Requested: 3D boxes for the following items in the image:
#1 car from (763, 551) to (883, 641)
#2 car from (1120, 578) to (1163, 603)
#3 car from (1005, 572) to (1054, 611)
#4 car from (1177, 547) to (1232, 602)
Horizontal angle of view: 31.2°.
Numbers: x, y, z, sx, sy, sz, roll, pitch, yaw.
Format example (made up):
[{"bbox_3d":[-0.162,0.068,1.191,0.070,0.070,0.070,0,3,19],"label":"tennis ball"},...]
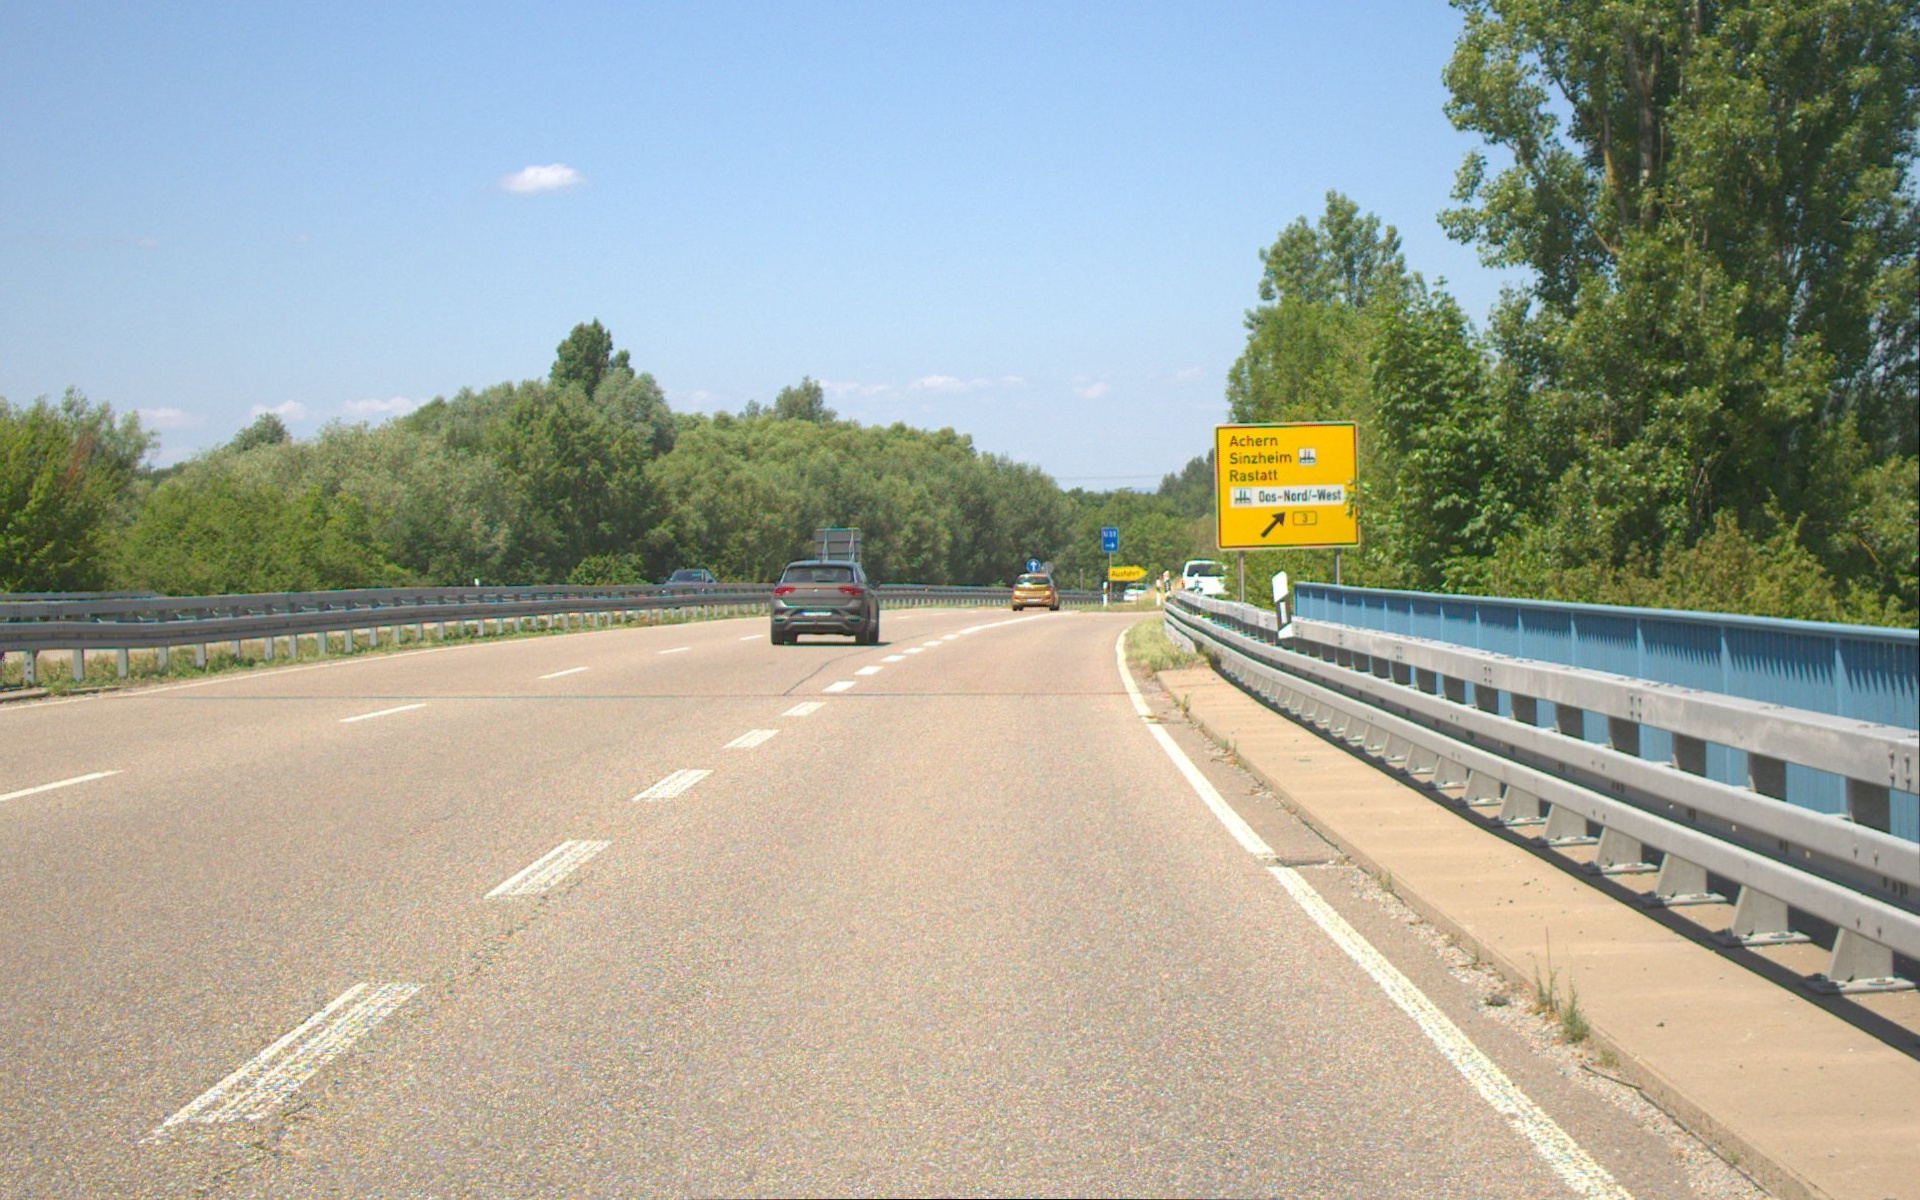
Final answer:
[{"bbox_3d":[-2.490,-0.099,63.601,1.841,1.524,4.470,1,1,2],"label":"car"},{"bbox_3d":[11.326,-0.595,214.040,1.842,1.446,3.997,2,1,16],"label":"car"},{"bbox_3d":[2.772,-0.347,137.088,1.841,1.459,4.000,1,1,2],"label":"car"},{"bbox_3d":[8.790,-0.925,123.804,1.841,1.889,4.000,1,1,3],"label":"car"}]
